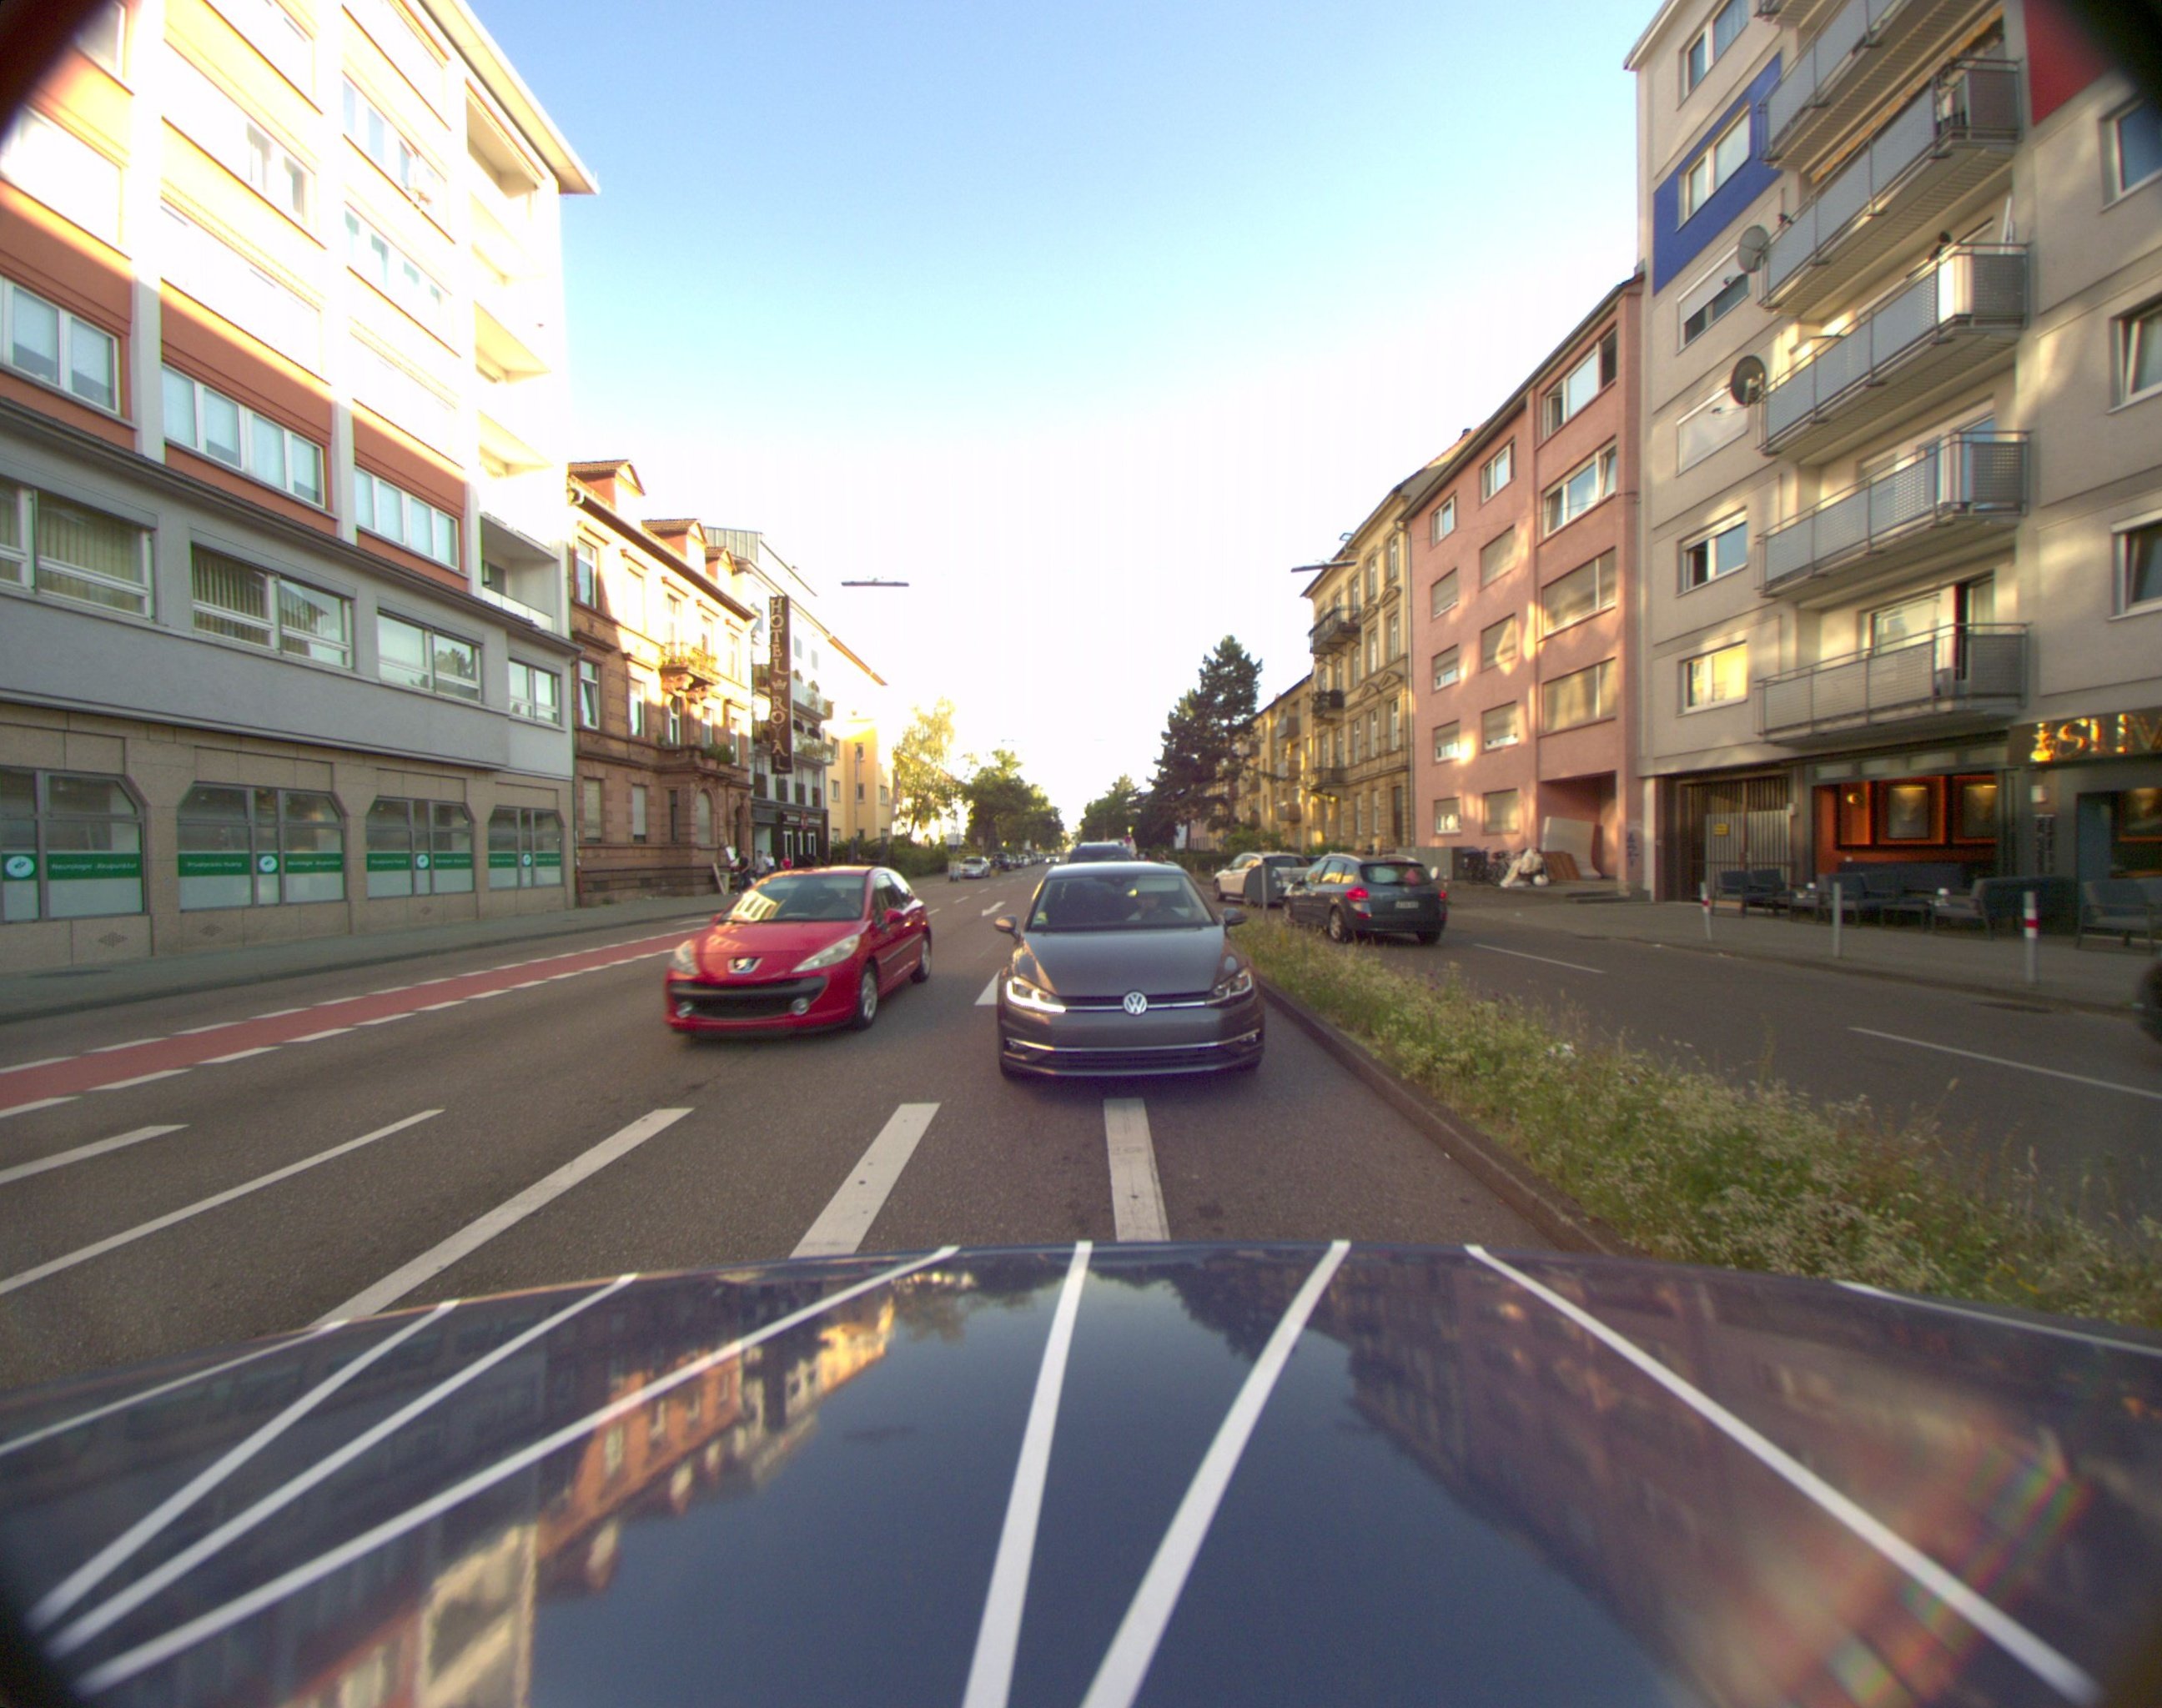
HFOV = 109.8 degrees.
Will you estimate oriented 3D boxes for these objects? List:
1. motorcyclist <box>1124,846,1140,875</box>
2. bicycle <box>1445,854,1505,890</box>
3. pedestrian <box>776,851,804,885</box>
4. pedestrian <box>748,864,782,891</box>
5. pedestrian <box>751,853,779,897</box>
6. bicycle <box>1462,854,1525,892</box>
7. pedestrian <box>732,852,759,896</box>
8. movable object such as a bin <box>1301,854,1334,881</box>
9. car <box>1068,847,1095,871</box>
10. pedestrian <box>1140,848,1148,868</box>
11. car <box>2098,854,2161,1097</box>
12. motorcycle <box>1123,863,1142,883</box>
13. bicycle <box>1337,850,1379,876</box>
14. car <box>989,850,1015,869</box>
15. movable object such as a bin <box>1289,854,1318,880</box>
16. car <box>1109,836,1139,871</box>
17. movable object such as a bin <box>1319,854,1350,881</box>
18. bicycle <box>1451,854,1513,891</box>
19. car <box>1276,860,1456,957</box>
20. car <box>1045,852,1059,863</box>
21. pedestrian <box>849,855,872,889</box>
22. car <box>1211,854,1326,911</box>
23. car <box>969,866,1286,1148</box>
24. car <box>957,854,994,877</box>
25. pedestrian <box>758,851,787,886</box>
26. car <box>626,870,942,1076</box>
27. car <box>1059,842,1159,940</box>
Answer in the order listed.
[{"bbox_3d":[2.591,0.315,38.495,0.750,1.433,0.958,0,1,-1],"label":"motorcyclist"},{"bbox_3d":[13.248,0.594,25.554,1.780,1.184,0.473,-1,1,-2],"label":"bicycle"},{"bbox_3d":[-14.144,0.684,36.951,1.008,1.579,0.740,4,1,29],"label":"pedestrian"},{"bbox_3d":[-13.719,1.017,33.016,1.100,1.129,0.924,-1,1,-2],"label":"pedestrian"},{"bbox_3d":[-12.552,0.811,30.191,0.668,1.716,1.011,-1,1,-2],"label":"pedestrian"},{"bbox_3d":[13.146,0.606,24.242,1.780,1.184,0.473,-1,1,-2],"label":"bicycle"},{"bbox_3d":[-13.346,0.781,30.227,0.668,1.716,1.010,-1,1,-5],"label":"pedestrian"},{"bbox_3d":[11.251,0.622,36.175,1.295,1.225,0.926,-2,1,-40],"label":"movable object such as a bin"},{"bbox_3d":[-0.009,0.369,61.670,1.895,1.843,4.699,0,0,-3],"label":"car"},{"bbox_3d":[5.045,0.332,61.071,0.577,1.591,0.481,-1,1,1],"label":"pedestrian"},{"bbox_3d":[8.032,0.814,3.305,1.724,1.619,4.102,0,0,0],"label":"car"},{"bbox_3d":[2.600,0.963,38.514,0.750,0.957,2.048,0,0,-1],"label":"motorcycle"},{"bbox_3d":[12.740,0.402,34.944,1.780,1.184,0.473,-1,1,-2],"label":"bicycle"},{"bbox_3d":[-7.150,0.498,69.000,1.947,1.615,4.193,-1,0,0],"label":"car"},{"bbox_3d":[10.859,0.628,37.069,1.196,1.225,0.847,-2,1,-40],"label":"movable object such as a bin"},{"bbox_3d":[3.450,-0.040,61.340,2.136,2.740,4.465,0,1,0],"label":"car"},{"bbox_3d":[11.824,0.610,35.430,1.196,1.225,0.847,-2,1,-40],"label":"movable object such as a bin"},{"bbox_3d":[13.168,0.604,24.975,1.780,1.184,0.473,-1,1,-2],"label":"bicycle"},{"bbox_3d":[4.891,0.848,13.656,1.596,1.462,3.984,0,0,-2],"label":"car"},{"bbox_3d":[-4.253,0.463,113.570,1.907,1.532,3.999,-1,1,0],"label":"car"},{"bbox_3d":[-10.552,0.858,36.364,0.738,1.593,1.011,2,1,4],"label":"pedestrian"},{"bbox_3d":[5.282,0.740,21.964,1.758,1.479,4.245,0,0,-8],"label":"car"},{"bbox_3d":[0.296,0.918,6.510,1.770,1.450,4.269,-2,1,1],"label":"car"},{"bbox_3d":[-7.348,0.788,53.207,1.905,1.508,4.074,-1,0,1],"label":"car"},{"bbox_3d":[-14.793,0.693,36.400,1.008,1.579,0.789,4,1,32],"label":"pedestrian"},{"bbox_3d":[-2.733,0.996,8.064,1.674,1.454,3.999,-2,1,1],"label":"car"},{"bbox_3d":[0.525,0.685,16.563,1.895,1.843,4.466,0,0,0],"label":"car"}]
